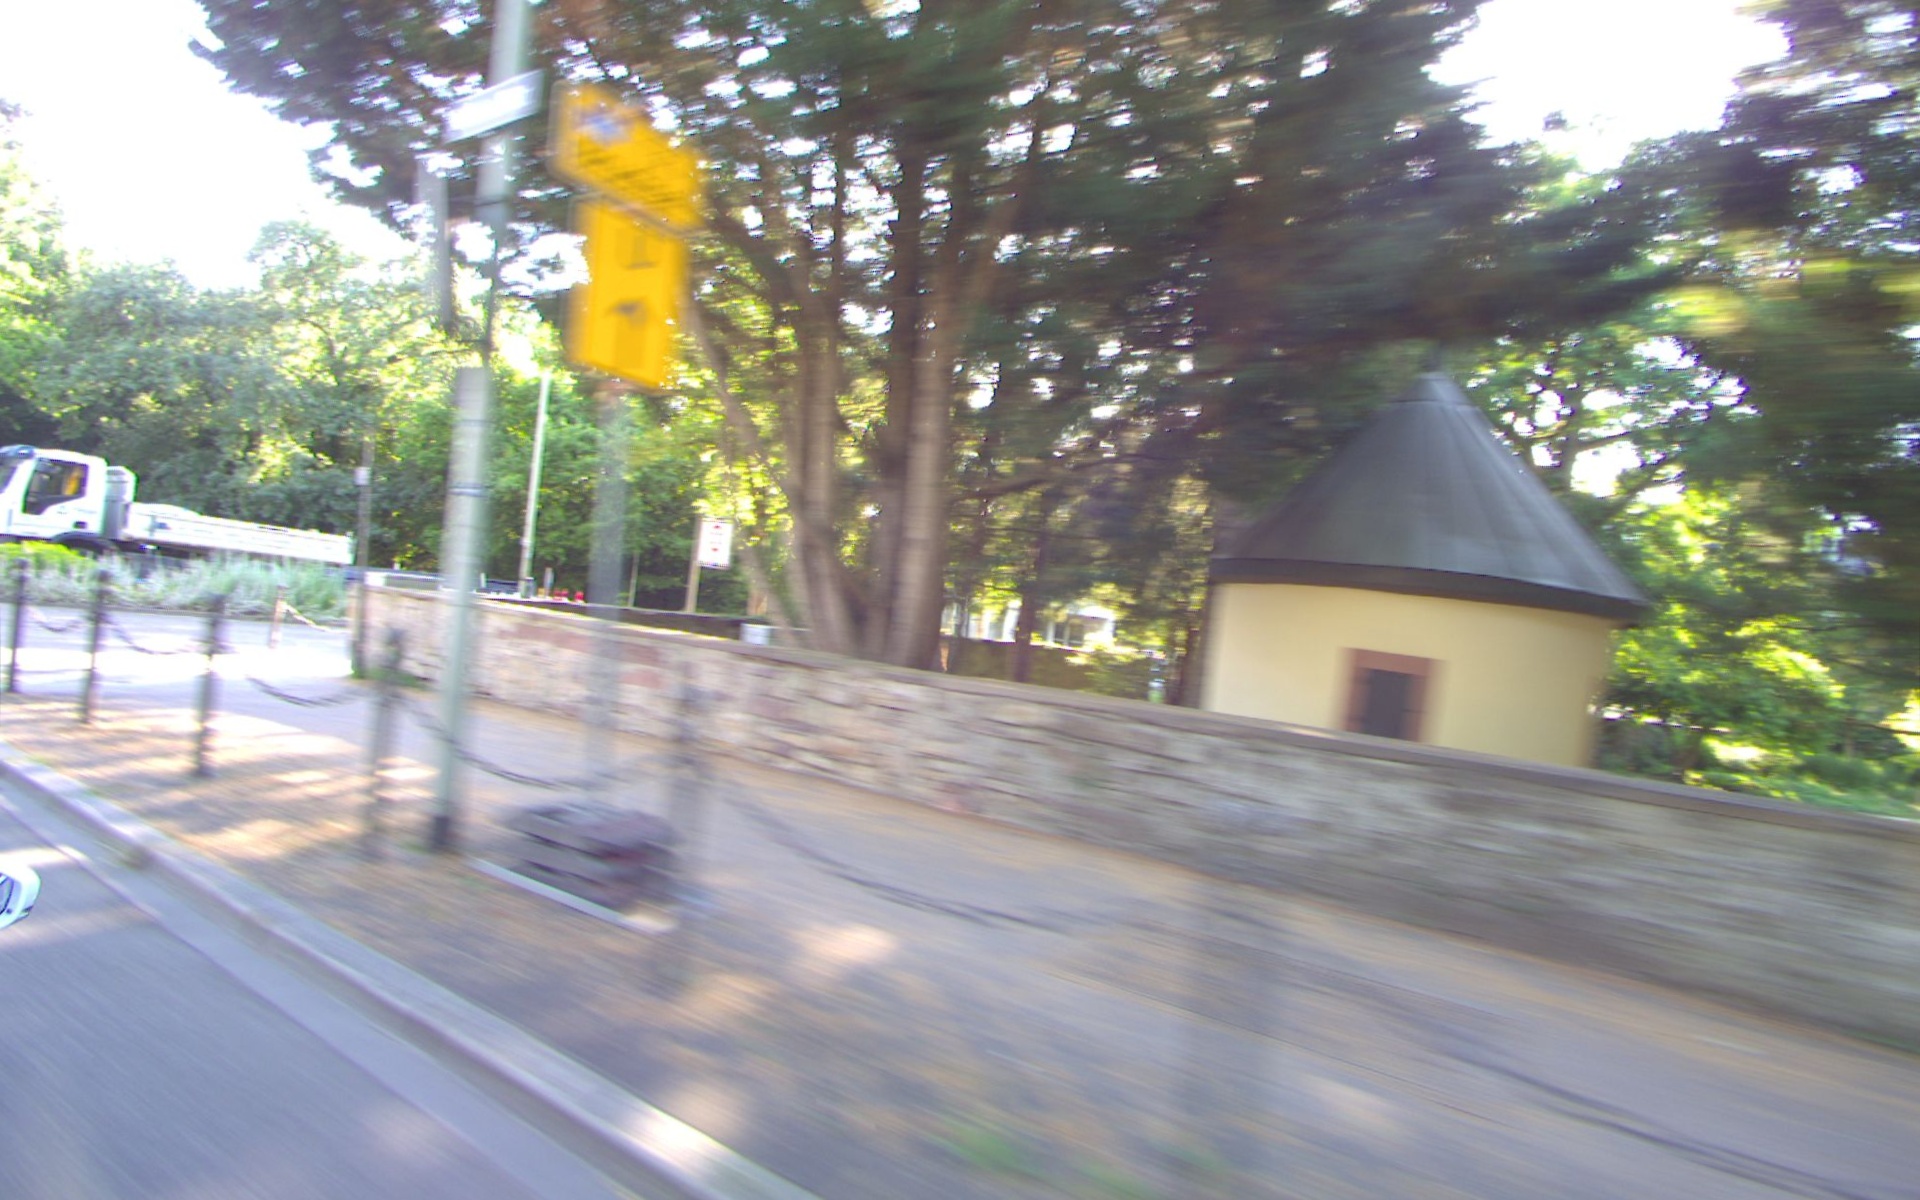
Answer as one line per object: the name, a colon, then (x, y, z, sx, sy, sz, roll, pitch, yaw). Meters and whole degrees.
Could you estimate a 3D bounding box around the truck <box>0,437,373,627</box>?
truck: (-17.077, -1.294, 22.073, 2.397, 2.927, 6.589, 6, -3, 38)

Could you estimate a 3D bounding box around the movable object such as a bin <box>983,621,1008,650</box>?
movable object such as a bin: (1.919, 1.947, 54.958, 1.076, 1.485, 1.081, 6, -2, -8)
